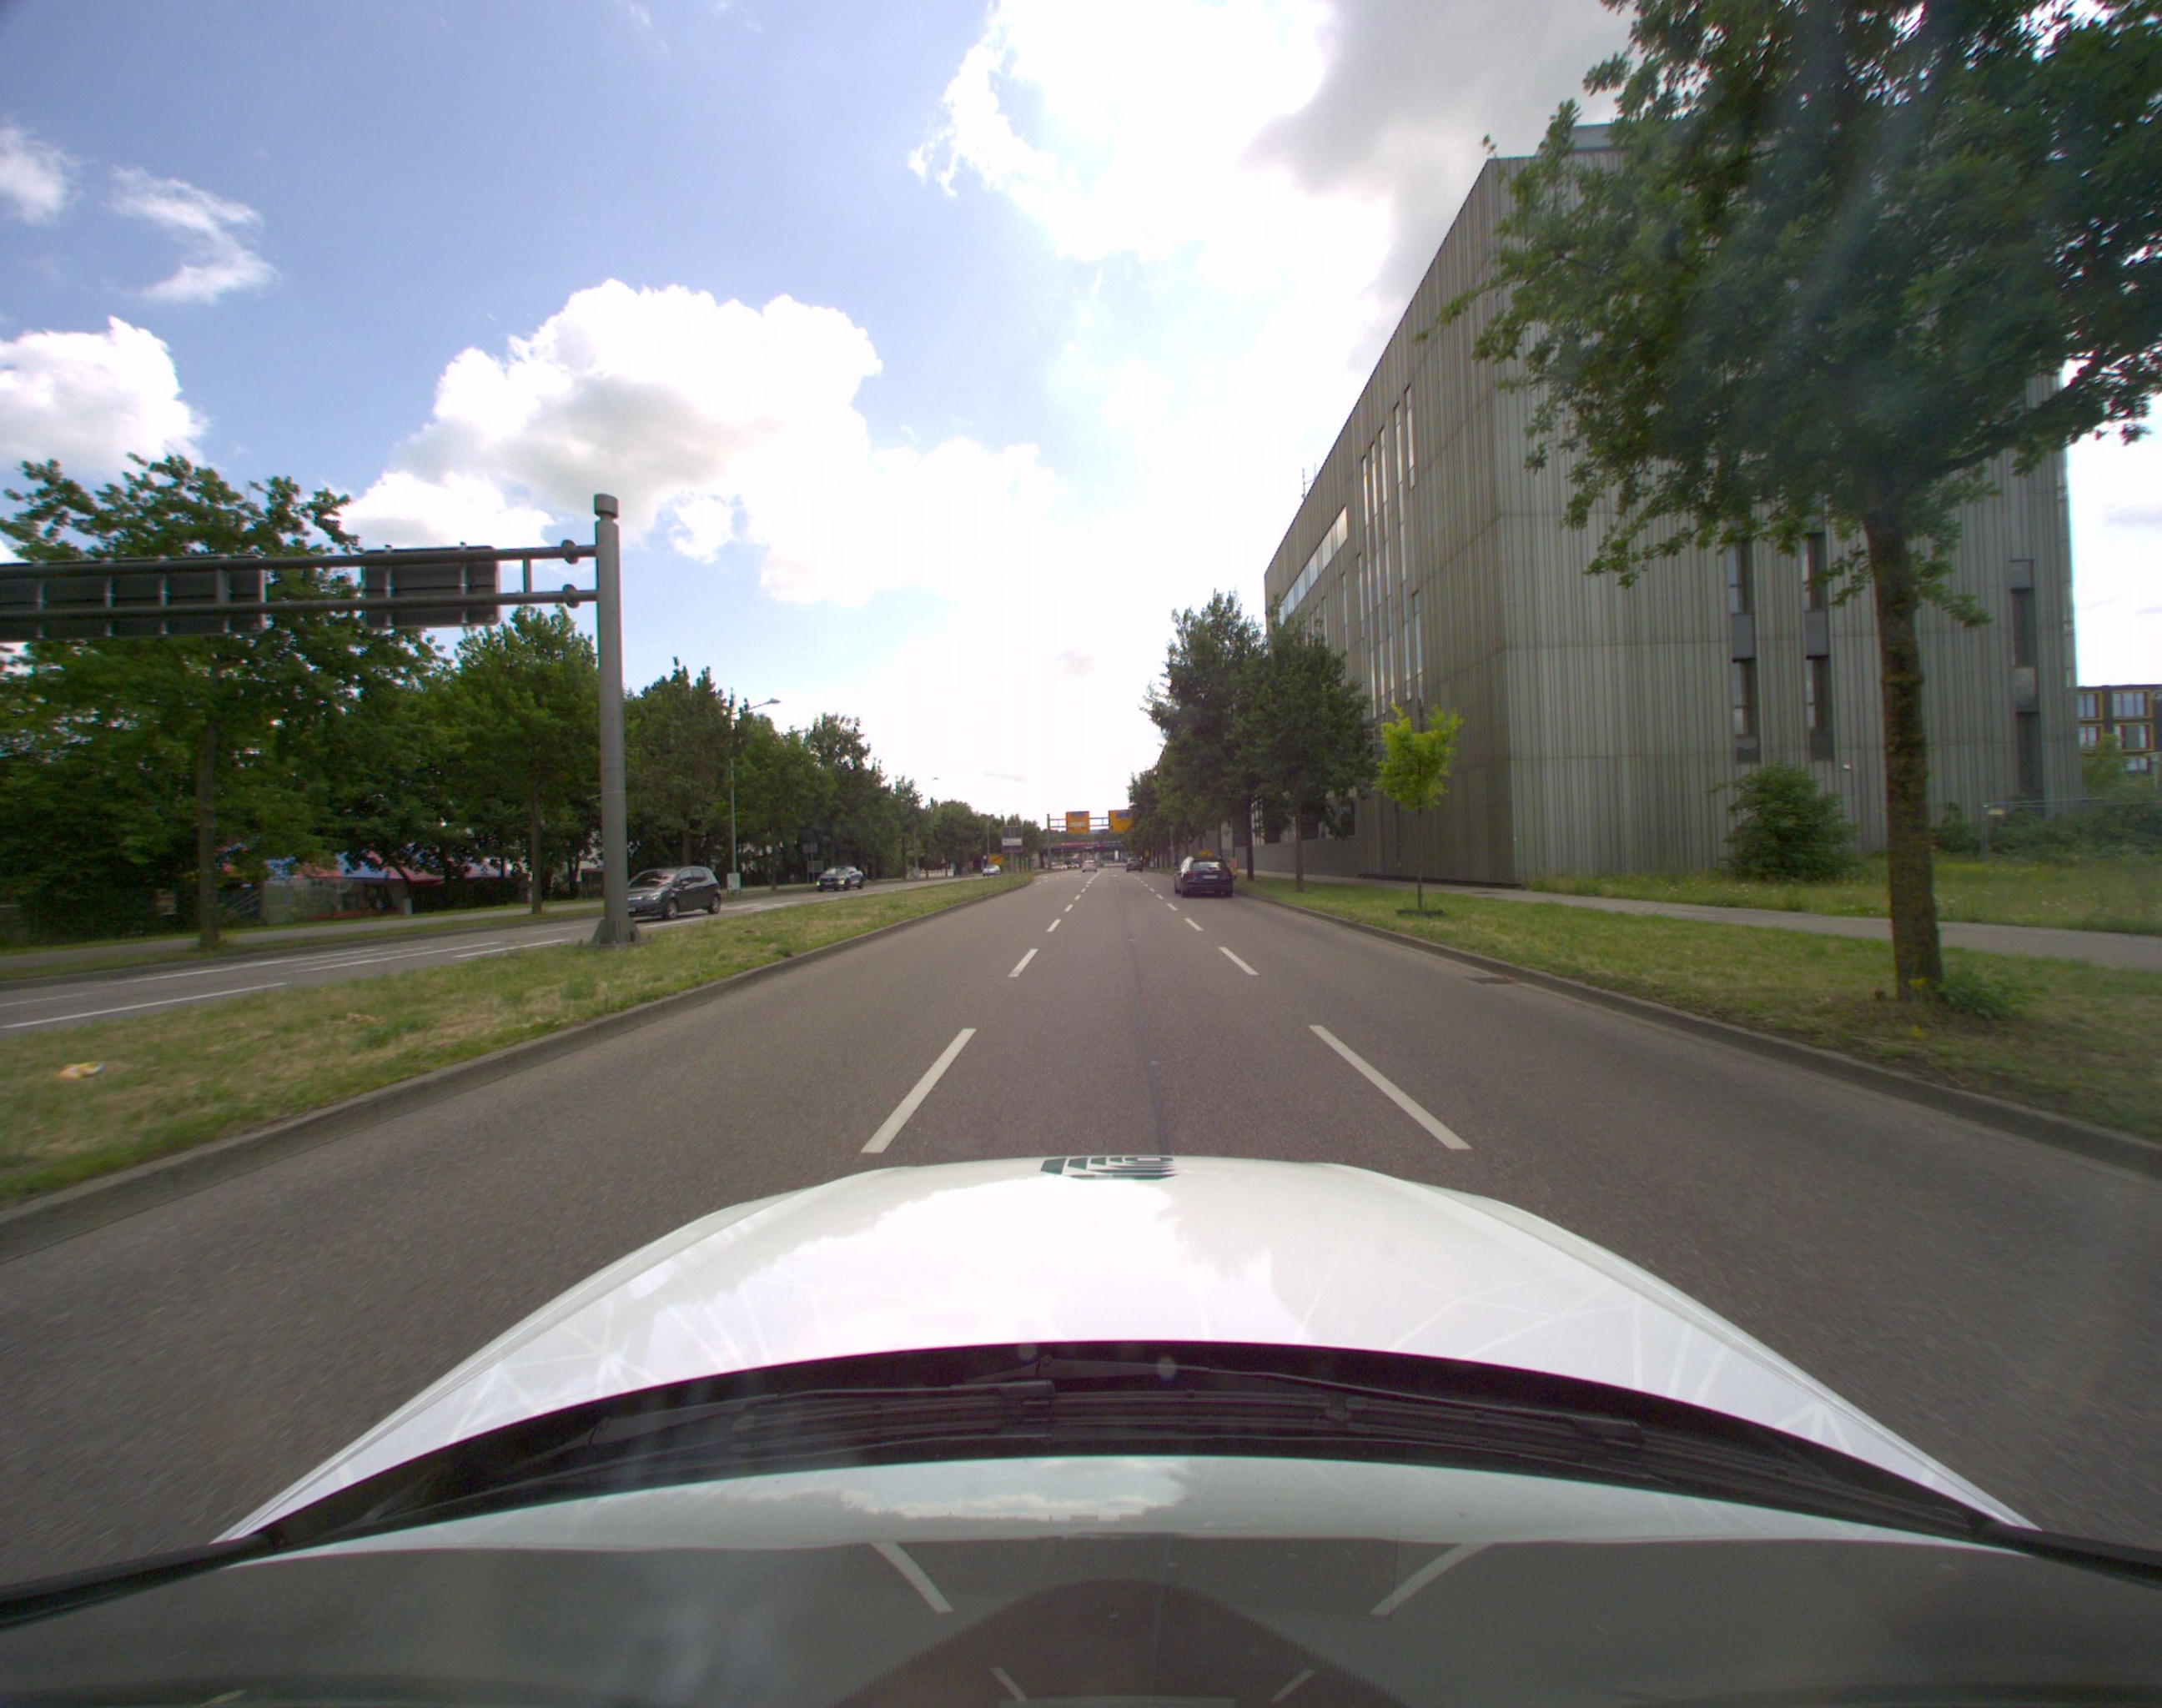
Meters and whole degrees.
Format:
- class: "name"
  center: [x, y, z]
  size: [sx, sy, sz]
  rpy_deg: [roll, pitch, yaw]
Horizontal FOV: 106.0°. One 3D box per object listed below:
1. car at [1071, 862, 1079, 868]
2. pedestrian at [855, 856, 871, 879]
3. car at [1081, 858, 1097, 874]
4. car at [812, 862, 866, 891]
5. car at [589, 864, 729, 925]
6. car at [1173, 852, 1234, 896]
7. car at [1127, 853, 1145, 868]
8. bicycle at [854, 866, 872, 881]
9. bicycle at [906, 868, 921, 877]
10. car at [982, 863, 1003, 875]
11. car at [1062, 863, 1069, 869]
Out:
- class: "car"
  center: [-1.715, 3.277, 236.518]
  size: [1.985, 1.618, 4.003]
  rpy_deg: [-2, -1, 3]
- class: "pedestrian"
  center: [-19.398, 1.155, 72.462]
  size: [0.966, 2.013, 1.250]
  rpy_deg: [1, 0, 3]
- class: "car"
  center: [0.953, 1.484, 102.552]
  size: [1.987, 2.014, 3.998]
  rpy_deg: [-1, -1, -1]
- class: "car"
  center: [-14.690, 1.345, 49.701]
  size: [1.735, 1.545, 4.574]
  rpy_deg: [-3, 0, 1]
- class: "car"
  center: [-12.729, 1.158, 24.932]
  size: [1.733, 1.569, 4.281]
  rpy_deg: [-3, 0, 4]
- class: "car"
  center: [4.372, 0.700, 29.645]
  size: [1.678, 1.463, 4.000]
  rpy_deg: [-1, -1, 1]
- class: "car"
  center: [6.491, 0.722, 96.046]
  size: [1.984, 1.626, 4.315]
  rpy_deg: [-2, 0, 4]
- class: "bicycle"
  center: [-19.404, 1.744, 72.570]
  size: [0.804, 1.226, 2.504]
  rpy_deg: [-2, 0, 3]
- class: "bicycle"
  center: [-21.817, 2.373, 105.997]
  size: [0.888, 1.059, 2.337]
  rpy_deg: [-2, -1, -38]
- class: "car"
  center: [-11.044, 1.889, 101.629]
  size: [1.632, 1.329, 4.388]
  rpy_deg: [-2, 0, 5]
- class: "car"
  center: [-4.490, 3.667, 240.728]
  size: [1.986, 1.783, 4.000]
  rpy_deg: [0, -2, 1]
